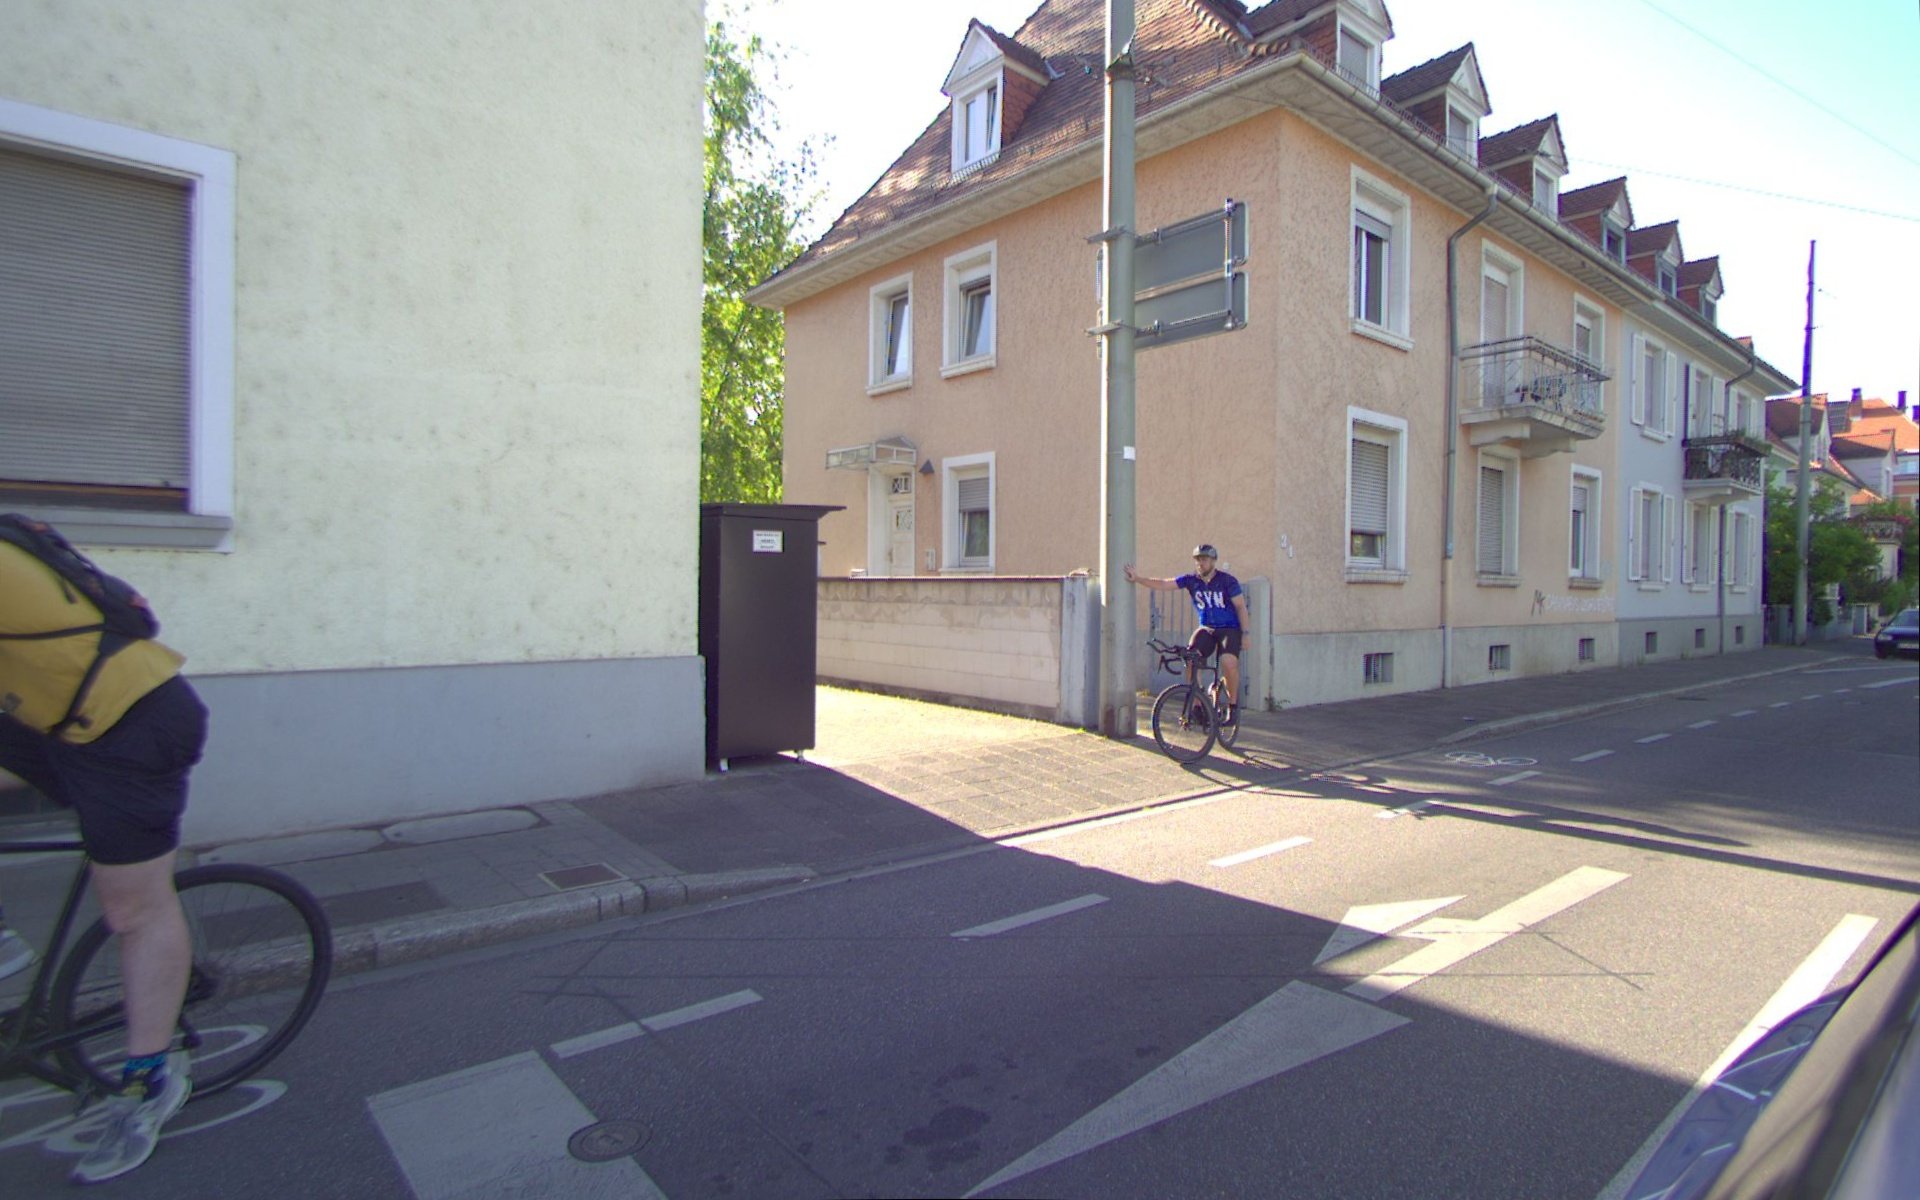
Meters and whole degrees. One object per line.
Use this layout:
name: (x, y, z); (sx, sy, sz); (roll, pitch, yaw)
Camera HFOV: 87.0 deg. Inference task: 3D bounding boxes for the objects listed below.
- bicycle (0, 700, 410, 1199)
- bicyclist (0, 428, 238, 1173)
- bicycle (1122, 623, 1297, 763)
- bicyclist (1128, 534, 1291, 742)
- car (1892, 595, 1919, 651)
bicycle: (-2.460, 0.896, 2.577); (1.778, 1.101, 0.611); (0, 1, -41)
bicyclist: (-2.445, 0.464, 2.573); (0.939, 1.743, 0.582); (0, 0, -41)
bicycle: (2.285, 0.794, 9.165); (1.689, 1.064, 0.595); (0, 6, -41)
bicyclist: (2.327, 0.309, 9.507); (0.838, 1.758, 1.072); (0, 6, -40)
car: (26.647, 0.612, 27.326); (3.932, 1.438, 1.845); (0, 1, -42)
